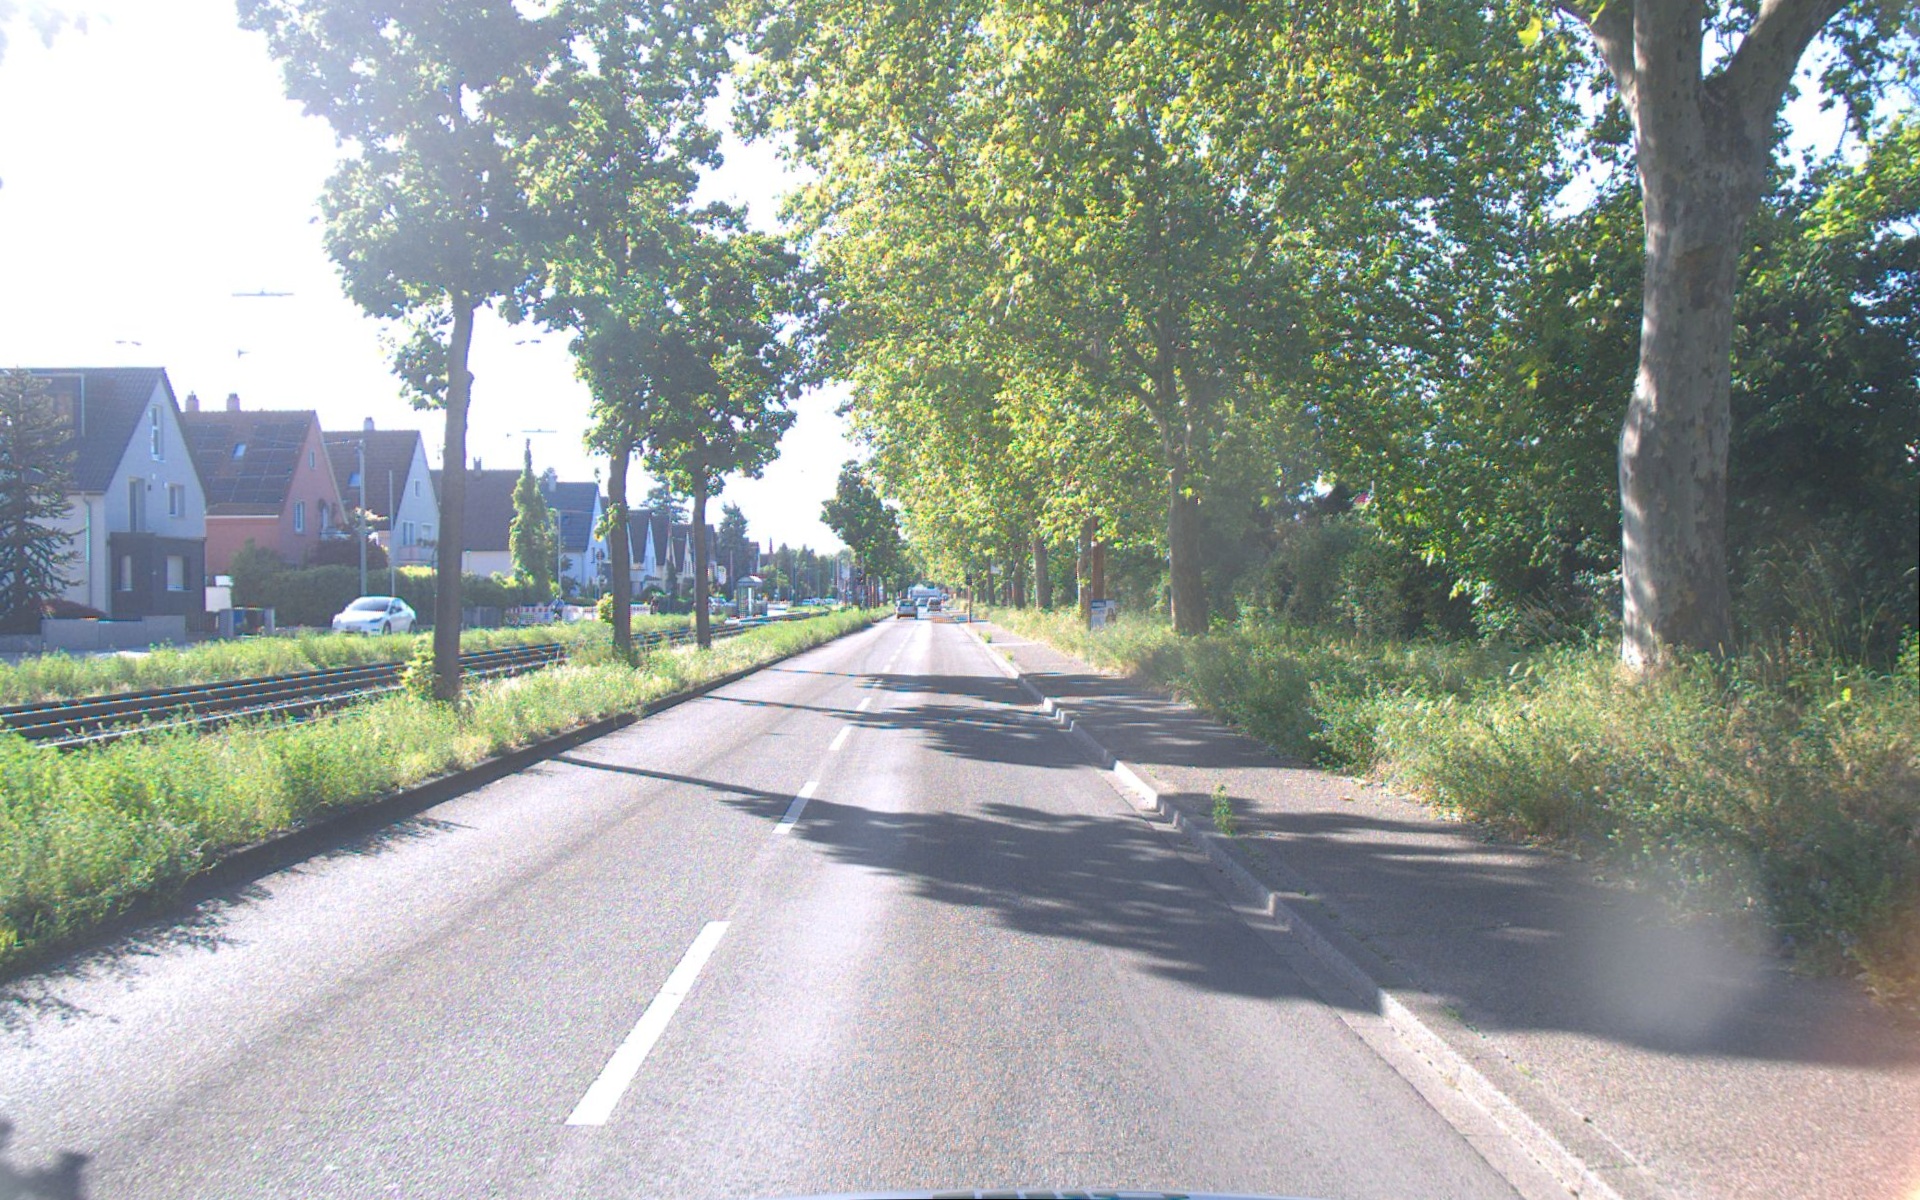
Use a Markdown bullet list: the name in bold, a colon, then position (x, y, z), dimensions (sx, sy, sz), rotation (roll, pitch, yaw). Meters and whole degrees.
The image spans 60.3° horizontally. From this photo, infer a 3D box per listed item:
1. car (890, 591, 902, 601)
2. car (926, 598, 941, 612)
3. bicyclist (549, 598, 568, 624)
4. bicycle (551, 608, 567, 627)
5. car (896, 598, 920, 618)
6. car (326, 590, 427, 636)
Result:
- **car**: position (-9.124, -0.567, 236.680), dimensions (1.496, 1.480, 3.286), rotation (1, 0, 0)
- **car**: position (-3.103, 0.557, 192.272), dimensions (1.725, 1.539, 3.276), rotation (1, 0, 0)
- **bicyclist**: position (-19.997, 0.538, 82.406), dimensions (0.783, 1.300, 0.736), rotation (1, -1, -5)
- **bicycle**: position (-19.916, 0.860, 82.122), dimensions (0.432, 0.917, 2.059), rotation (1, 0, -5)
- **car**: position (-3.872, 0.624, 124.013), dimensions (1.703, 1.425, 3.276), rotation (1, 0, -1)
- **car**: position (-22.079, 0.486, 62.807), dimensions (1.952, 1.627, 4.733), rotation (1, 0, 2)
